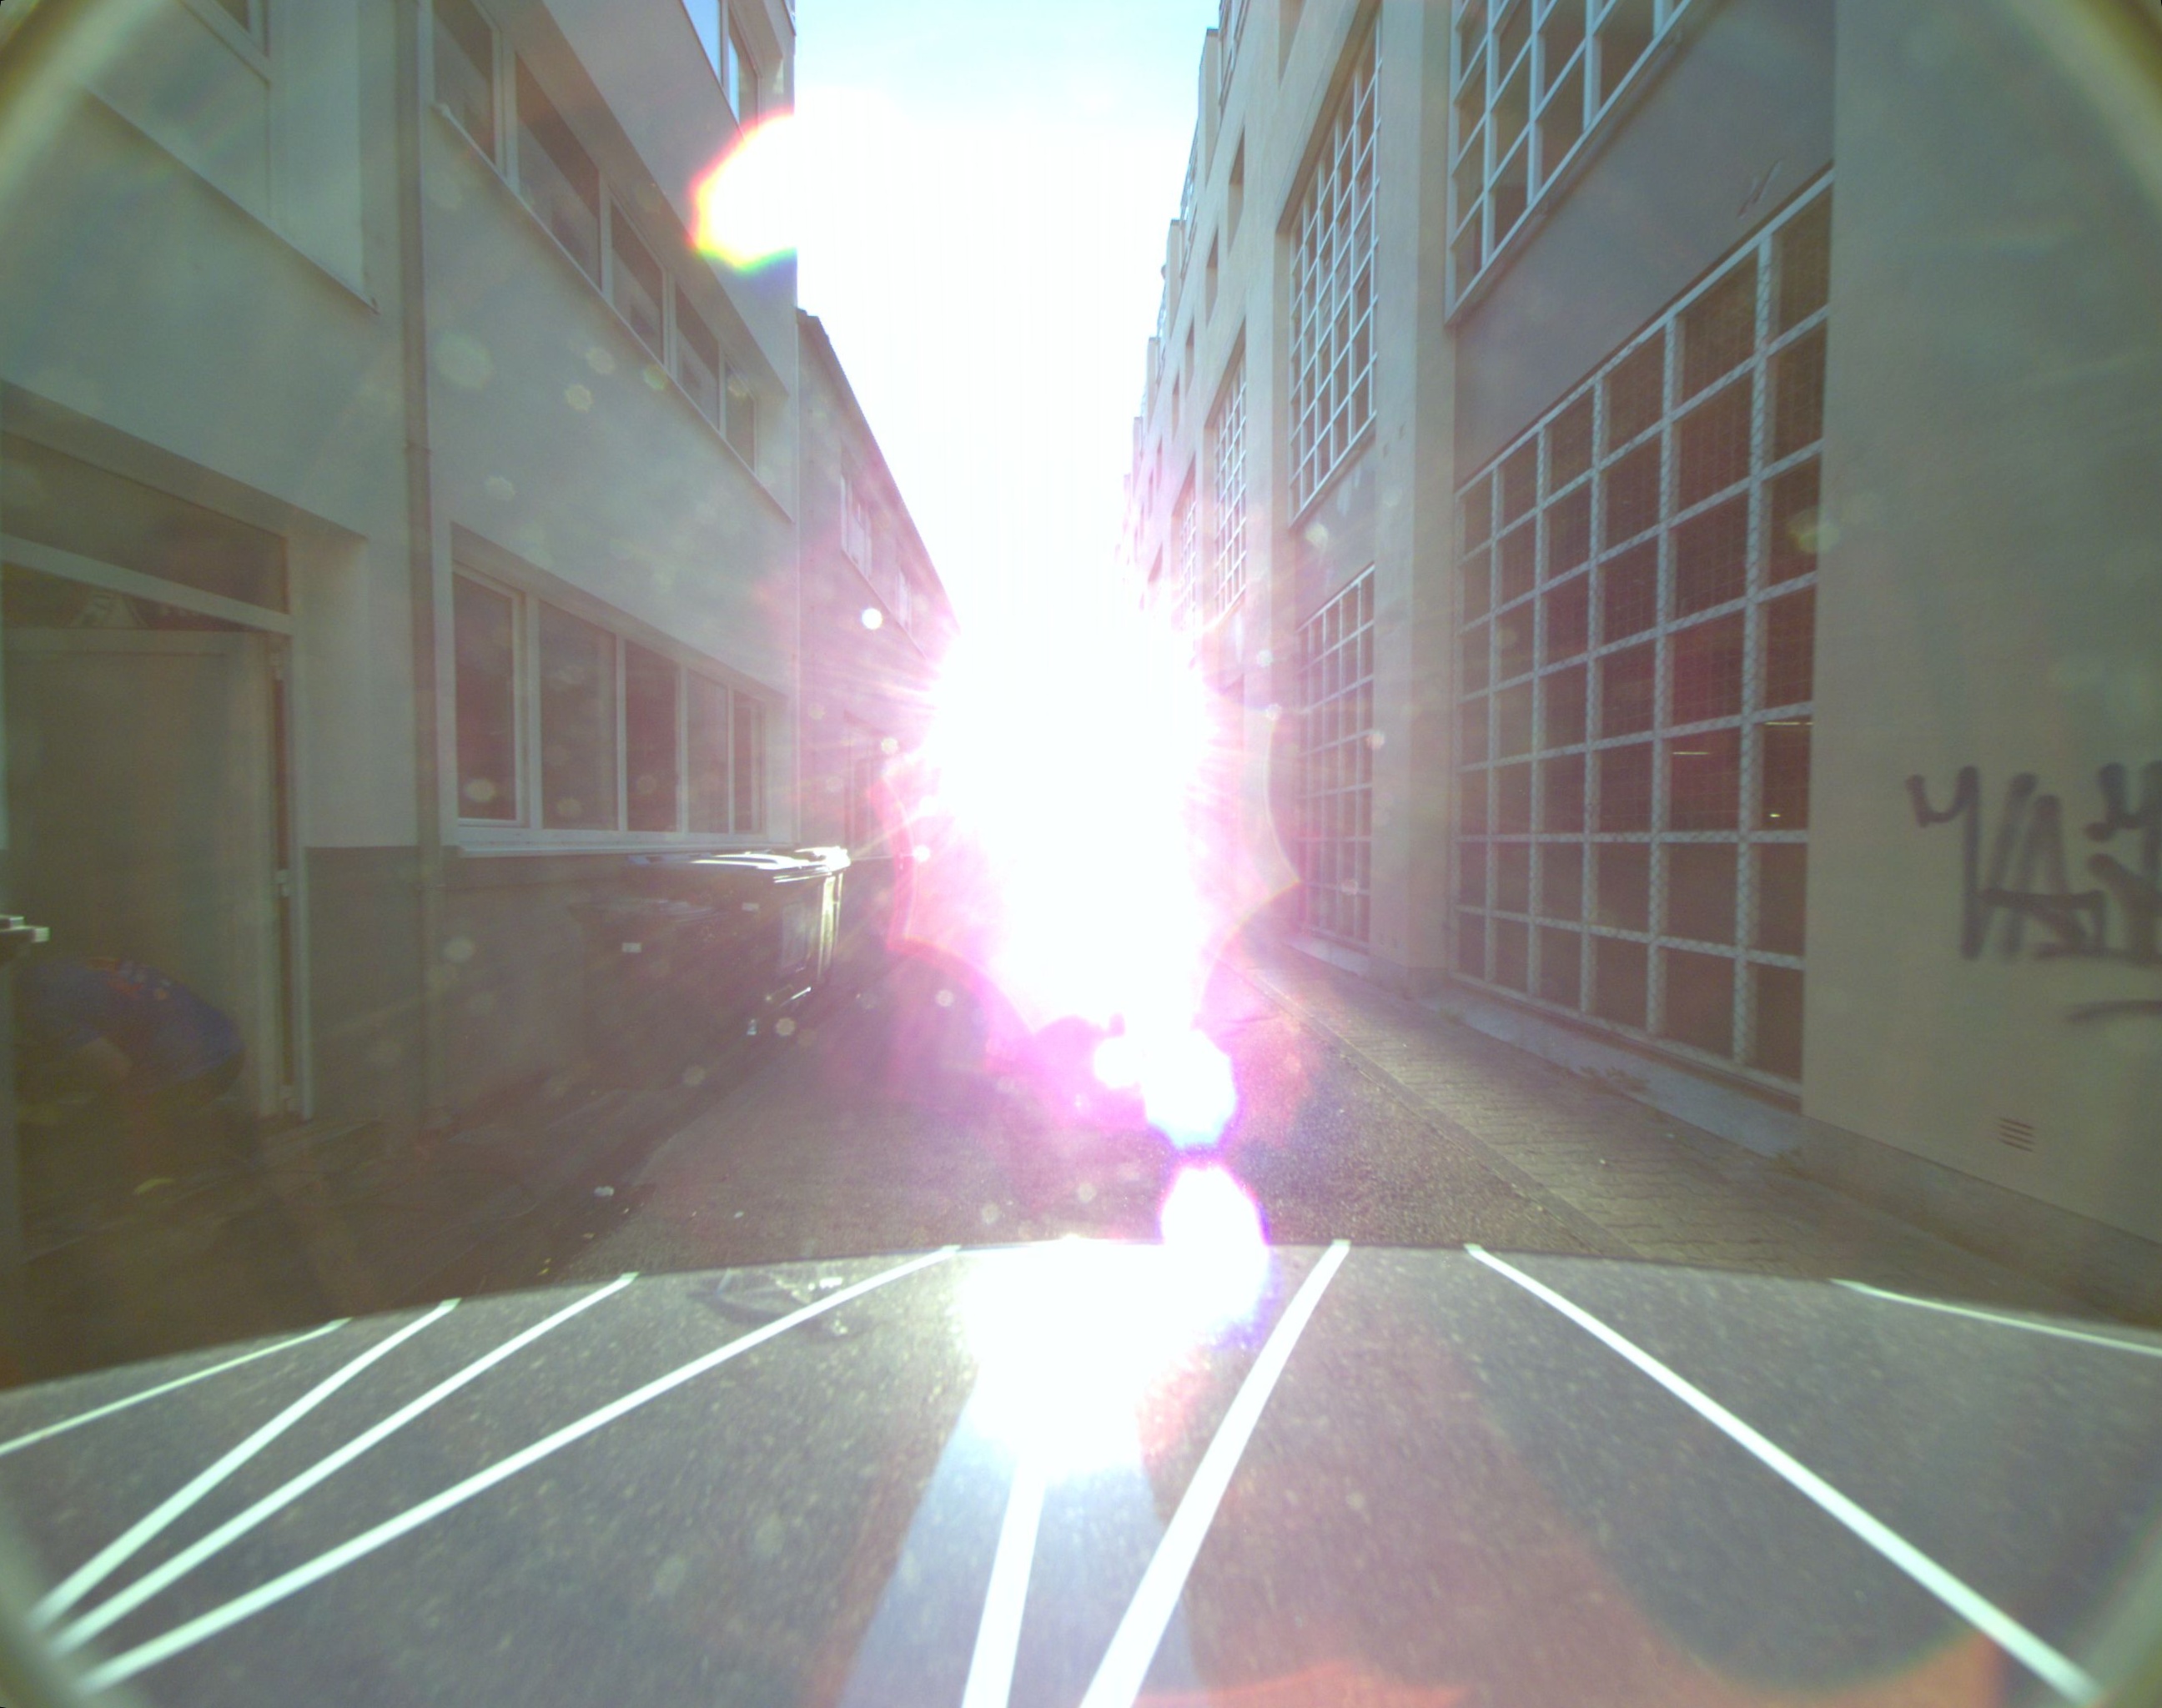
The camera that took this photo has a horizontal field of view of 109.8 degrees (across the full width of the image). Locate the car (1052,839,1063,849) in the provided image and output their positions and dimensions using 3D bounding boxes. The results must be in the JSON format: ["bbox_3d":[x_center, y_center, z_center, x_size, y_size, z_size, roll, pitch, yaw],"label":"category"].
[{"bbox_3d":[-4.470,-1.990,144.858,1.999,1.805,3.998,-2,1,-3],"label":"car"}]

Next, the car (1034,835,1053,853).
[{"bbox_3d":[-3.849,-1.059,79.081,1.764,1.757,4.748,-2,1,-1],"label":"car"}]

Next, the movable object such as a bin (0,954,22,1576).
[{"bbox_3d":[-2.670,0.855,0.964,0.837,1.297,1.290,2,2,2],"label":"movable object such as a bin"}]

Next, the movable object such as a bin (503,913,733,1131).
[{"bbox_3d":[-2.619,0.925,4.392,0.871,1.069,0.738,2,2,-3],"label":"movable object such as a bin"}]

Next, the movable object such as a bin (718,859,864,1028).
[{"bbox_3d":[-2.610,0.763,7.021,0.940,1.359,1.341,2,2,-7],"label":"movable object such as a bin"}]

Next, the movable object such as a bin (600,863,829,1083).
[{"bbox_3d":[-2.604,0.791,5.616,1.067,1.359,1.341,2,2,-4],"label":"movable object such as a bin"}]
